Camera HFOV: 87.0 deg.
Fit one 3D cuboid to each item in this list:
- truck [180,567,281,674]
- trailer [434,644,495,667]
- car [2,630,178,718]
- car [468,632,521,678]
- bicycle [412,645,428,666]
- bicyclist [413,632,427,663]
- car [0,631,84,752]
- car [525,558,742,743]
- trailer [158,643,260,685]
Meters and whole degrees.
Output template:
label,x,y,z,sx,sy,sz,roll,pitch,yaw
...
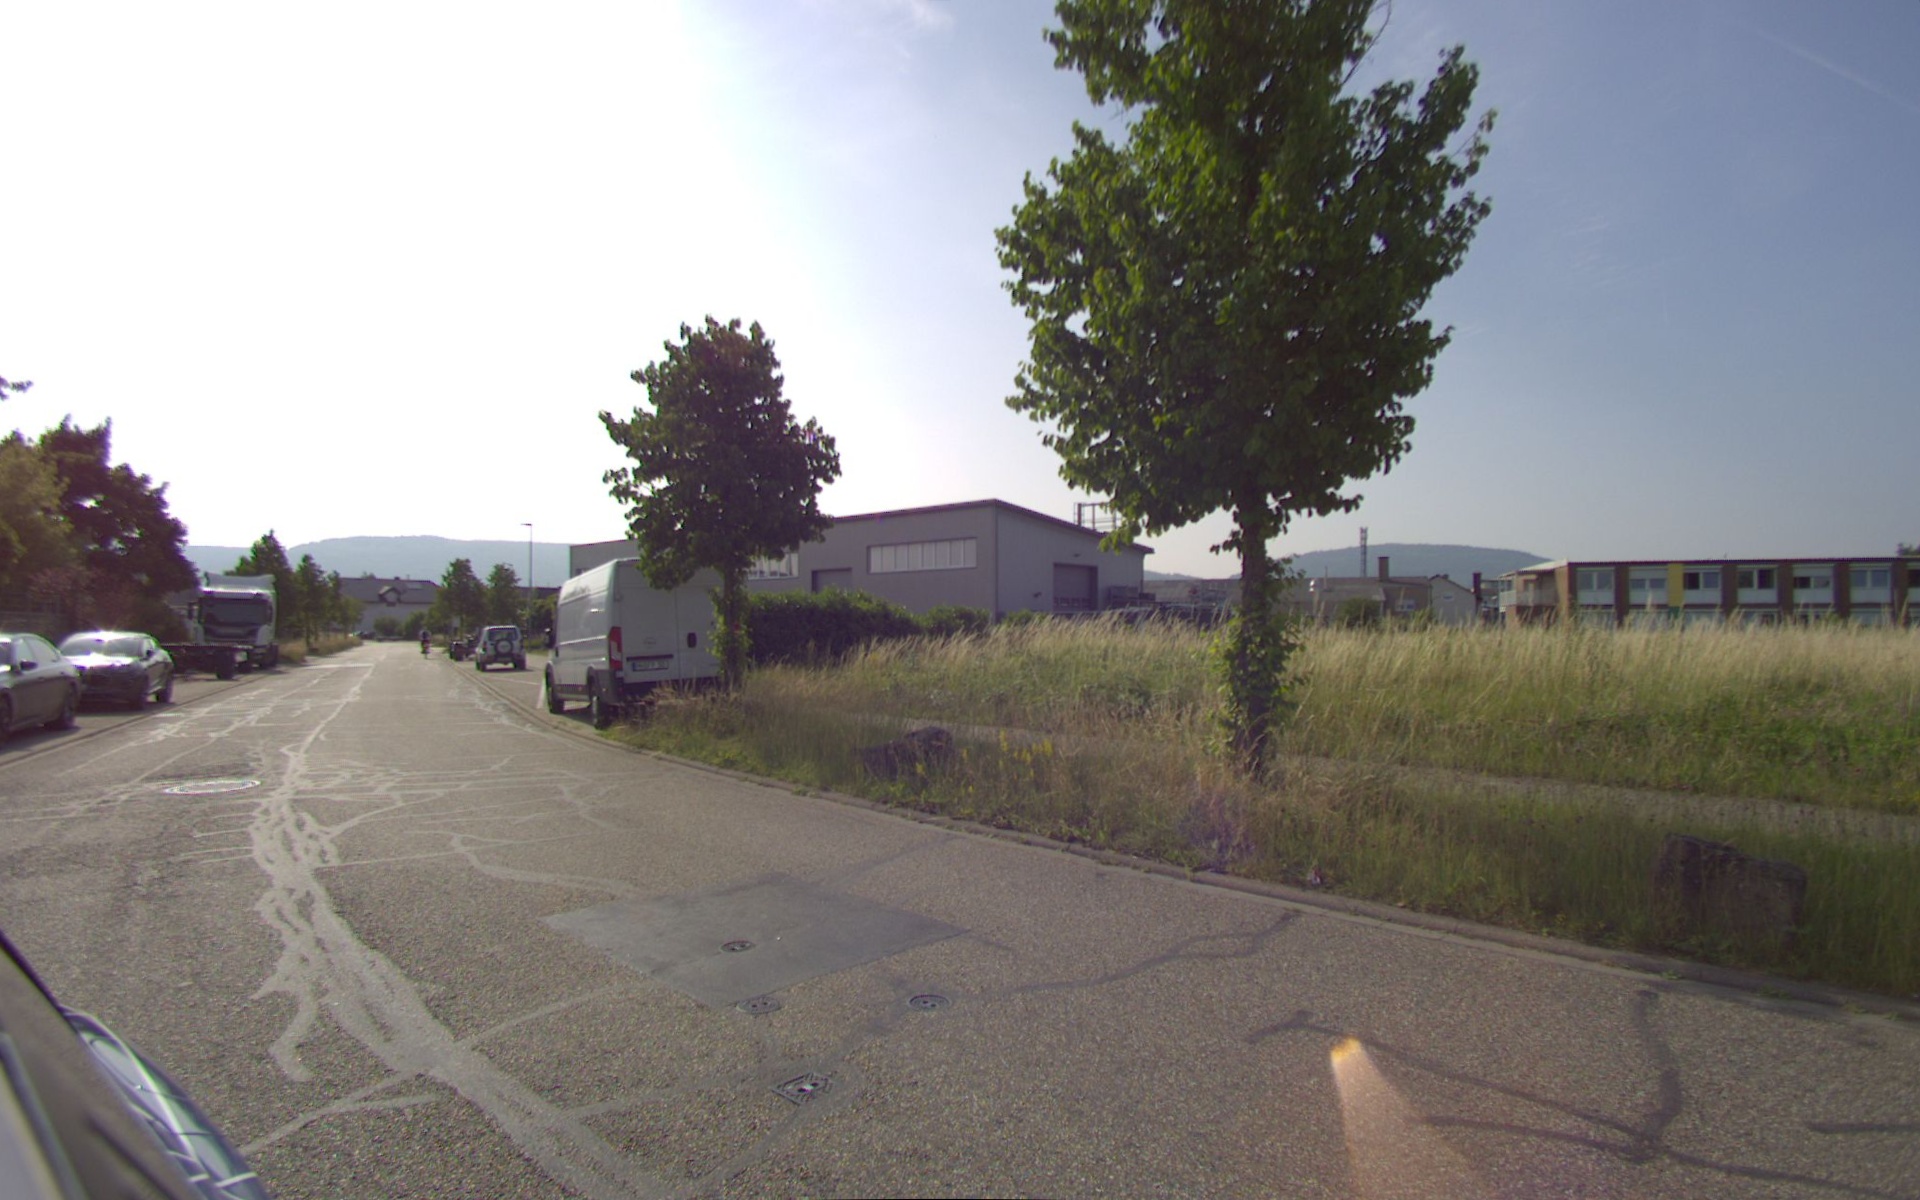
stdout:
label,x,y,z,sx,sy,sz,roll,pitch,yaw
truck,-29.959,0.928,41.790,2.654,3.995,6.065,4,-4,-31
trailer,-27.369,3.014,55.687,2.510,1.082,9.761,-1,-2,-29
car,-17.734,1.463,20.872,1.854,1.586,4.126,4,-3,-29
car,-17.946,2.091,38.982,1.575,1.663,3.655,0,-2,-29
bicycle,-30.673,3.120,57.459,0.706,1.131,2.226,4,-4,-29
bicyclist,-30.665,2.685,57.478,0.630,1.732,1.169,1,-3,-29
car,-14.311,1.241,14.268,1.854,1.586,5.134,3,-3,-29
car,-5.948,0.815,17.686,2.073,2.615,6.522,0,-2,-32
trailer,-25.627,2.143,34.781,1.911,1.245,7.473,3,-4,-30
